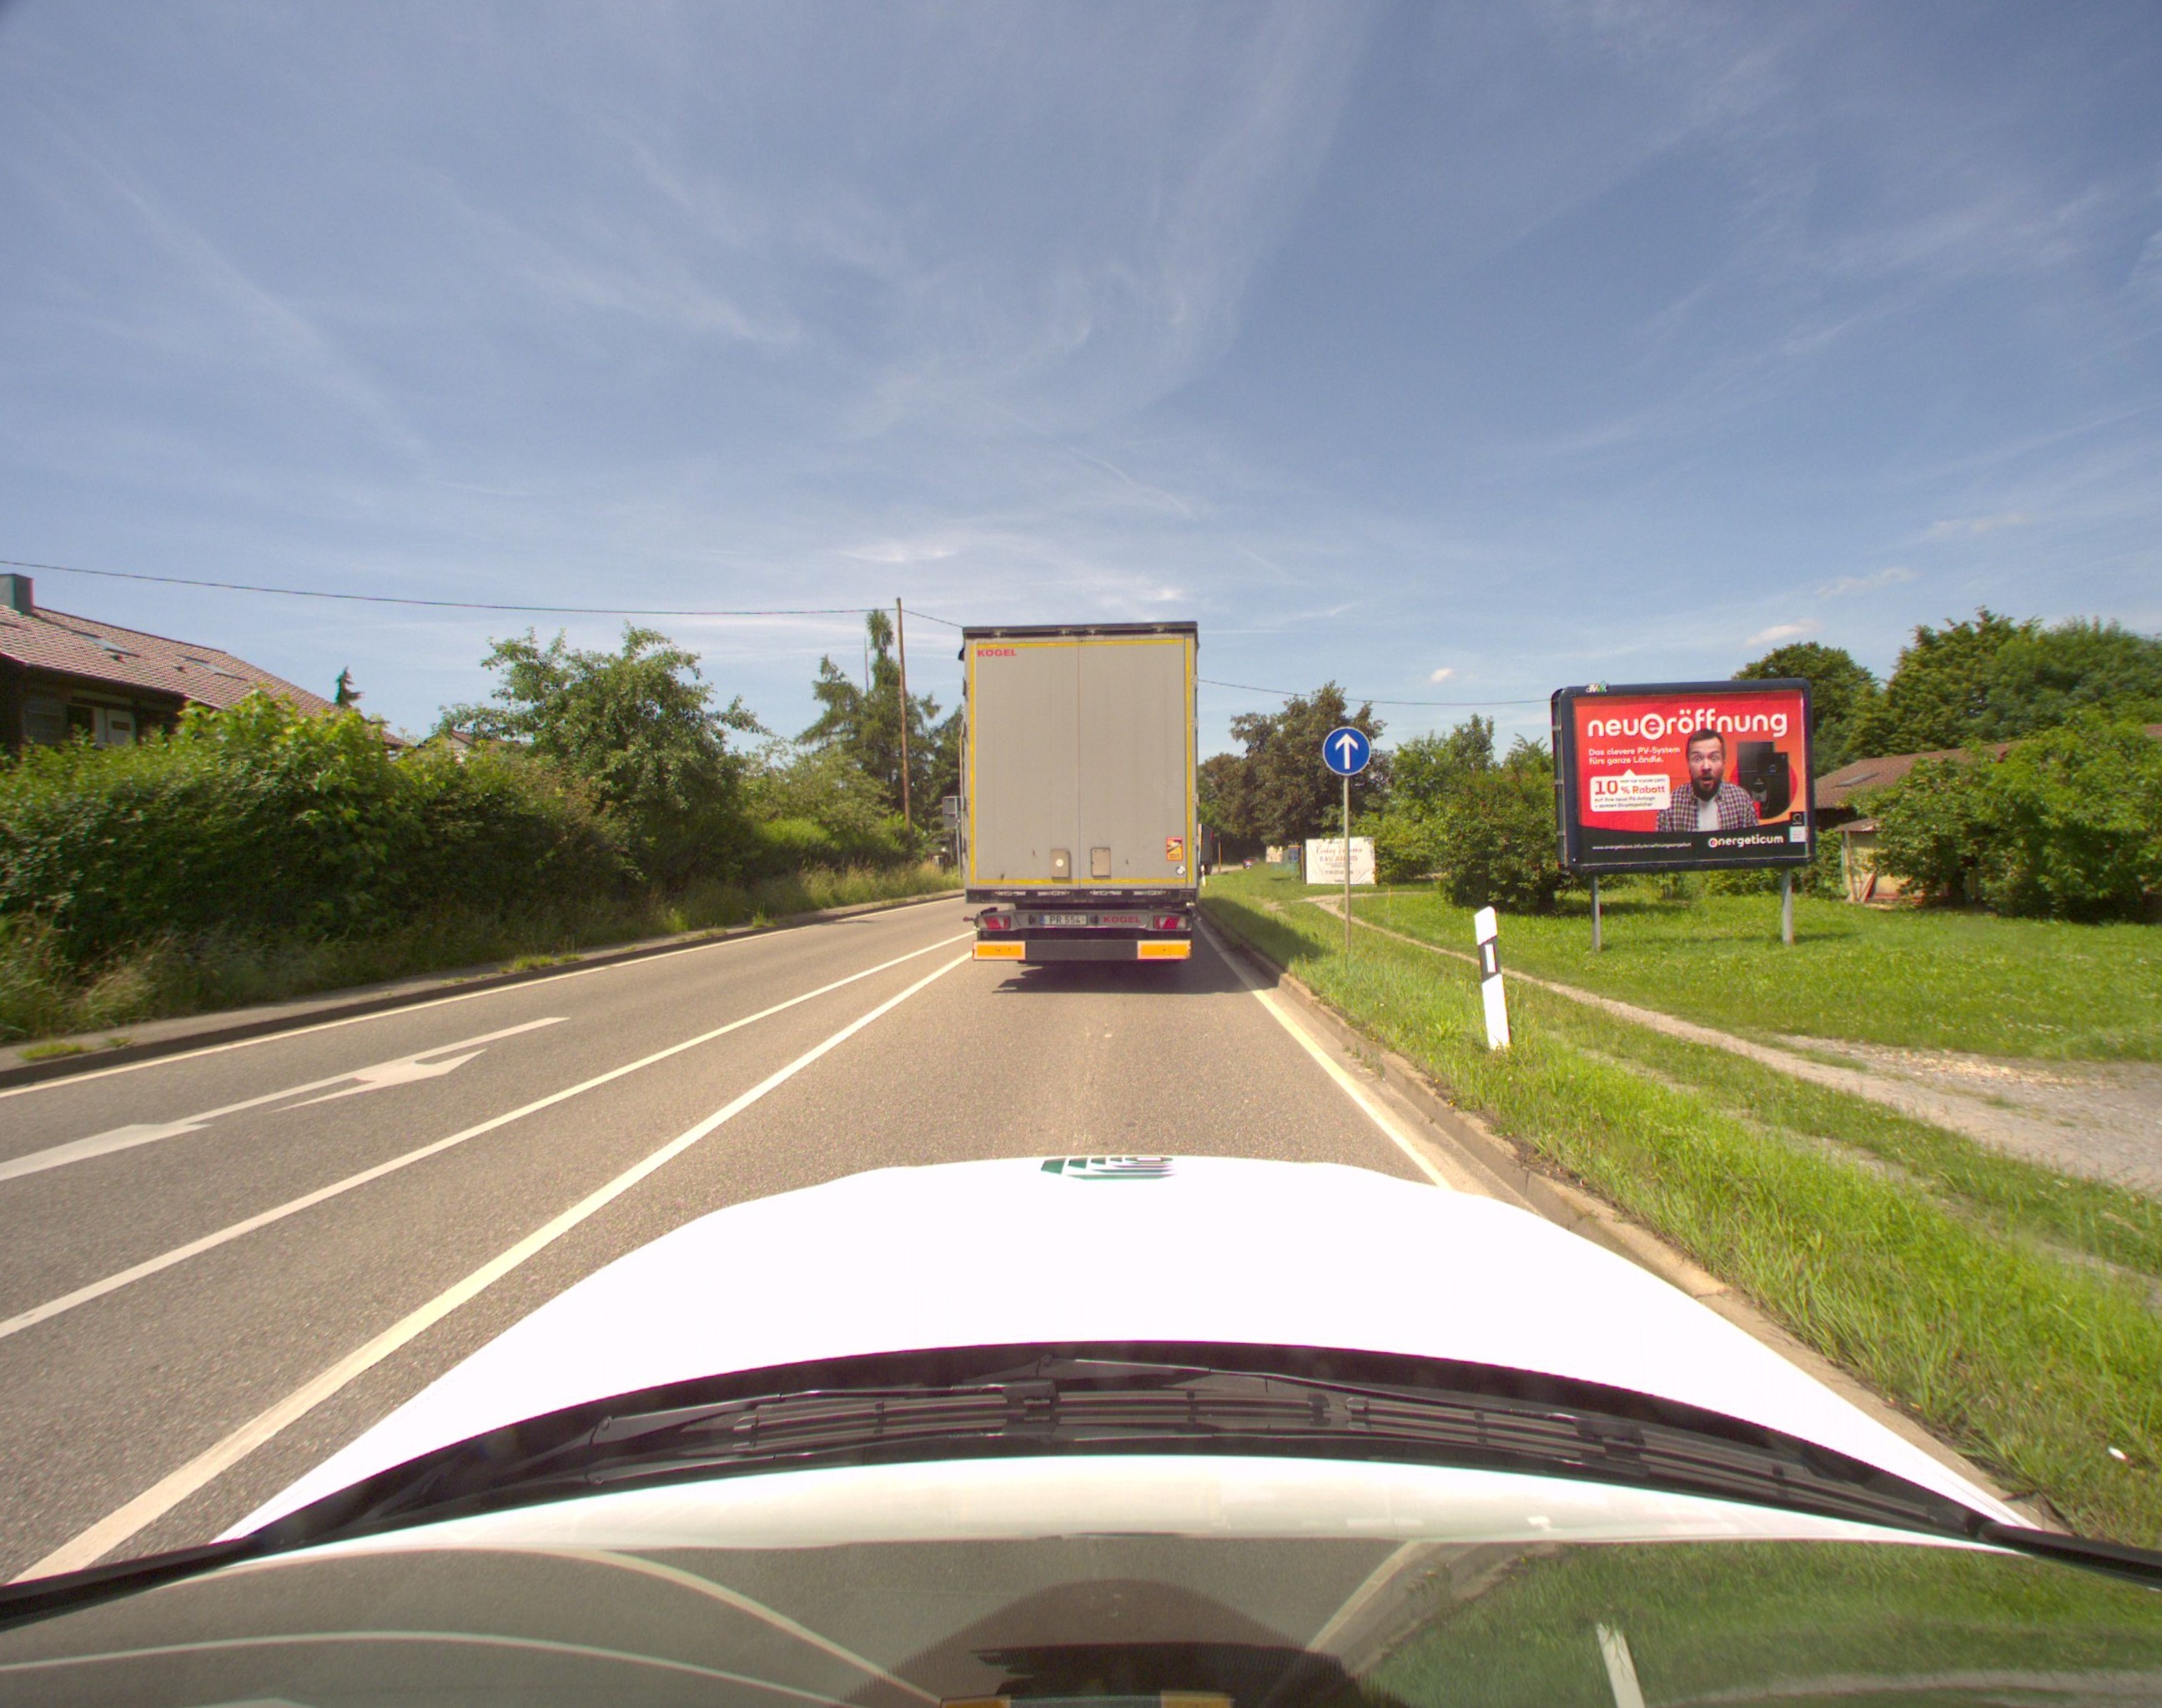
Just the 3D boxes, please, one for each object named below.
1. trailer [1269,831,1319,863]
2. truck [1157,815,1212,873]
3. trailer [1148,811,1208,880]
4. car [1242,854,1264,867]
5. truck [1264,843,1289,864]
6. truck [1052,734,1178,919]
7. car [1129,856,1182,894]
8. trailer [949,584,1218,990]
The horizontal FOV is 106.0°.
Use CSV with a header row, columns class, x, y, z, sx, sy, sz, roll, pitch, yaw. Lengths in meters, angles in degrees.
class,x,y,z,sx,sy,sz,roll,pitch,yaw
trailer,33.632,-1.191,127.663,5.133,4.628,15.984,-1,0,23
truck,8.742,-0.781,68.062,3.911,4.574,7.174,-1,0,11
trailer,7.491,-0.630,61.271,3.868,4.520,12.746,-1,0,9
car,21.378,0.787,100.946,1.825,1.486,4.023,-1,0,24
truck,26.887,-0.075,112.014,2.399,2.838,5.443,-1,0,24
truck,1.134,-0.639,21.570,2.731,4.165,6.156,-1,0,8
car,3.264,0.855,35.128,1.982,1.530,4.010,0,0,9
trailer,0.480,-0.741,14.580,2.774,4.205,12.126,-1,0,4
